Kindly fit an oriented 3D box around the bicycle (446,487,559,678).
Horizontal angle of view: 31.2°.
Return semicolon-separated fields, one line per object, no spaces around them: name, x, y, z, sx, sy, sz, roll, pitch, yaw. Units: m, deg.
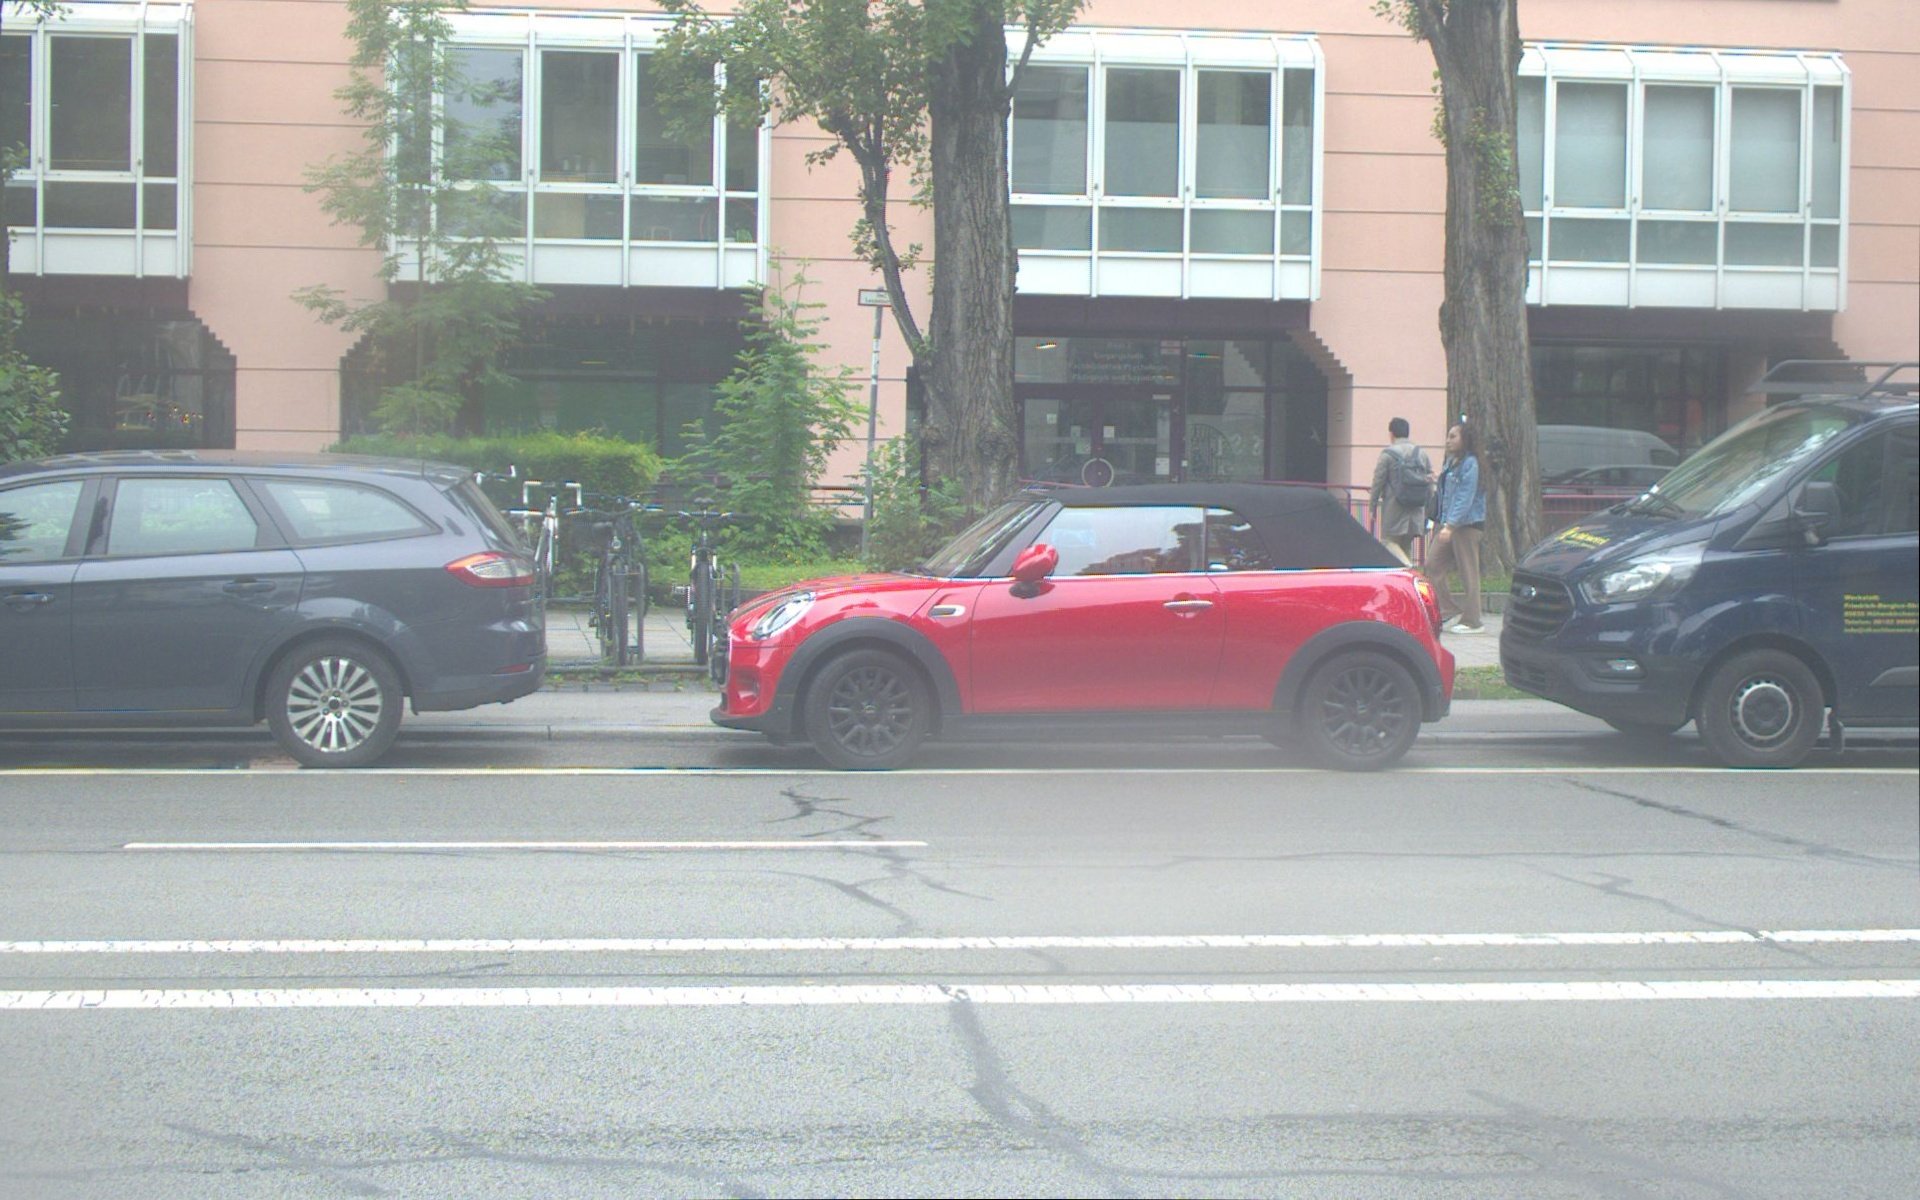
bicycle;-2.889;-0.134;21.691;0.674;1.120;1.742;0;3;-8

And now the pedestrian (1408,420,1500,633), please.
pedestrian;3.900;-0.586;27.153;0.557;1.657;0.621;1;3;-4

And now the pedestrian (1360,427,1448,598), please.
pedestrian;4.517;-0.898;35.013;0.707;1.707;0.732;1;3;-5

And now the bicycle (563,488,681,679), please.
bicycle;-2.156;-0.127;21.781;0.674;1.120;1.742;0;3;-8

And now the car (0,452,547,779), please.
car;-4.426;0.038;17.285;4.607;1.523;1.794;1;3;-8

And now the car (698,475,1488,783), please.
car;0.610;0.123;17.778;3.860;1.443;1.679;1;3;-6

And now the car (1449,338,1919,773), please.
car;5.632;-0.247;18.717;5.477;2.189;2.024;1;3;-8

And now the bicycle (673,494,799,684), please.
bicycle;-1.442;-0.091;21.900;0.674;1.120;1.730;0;3;-8
